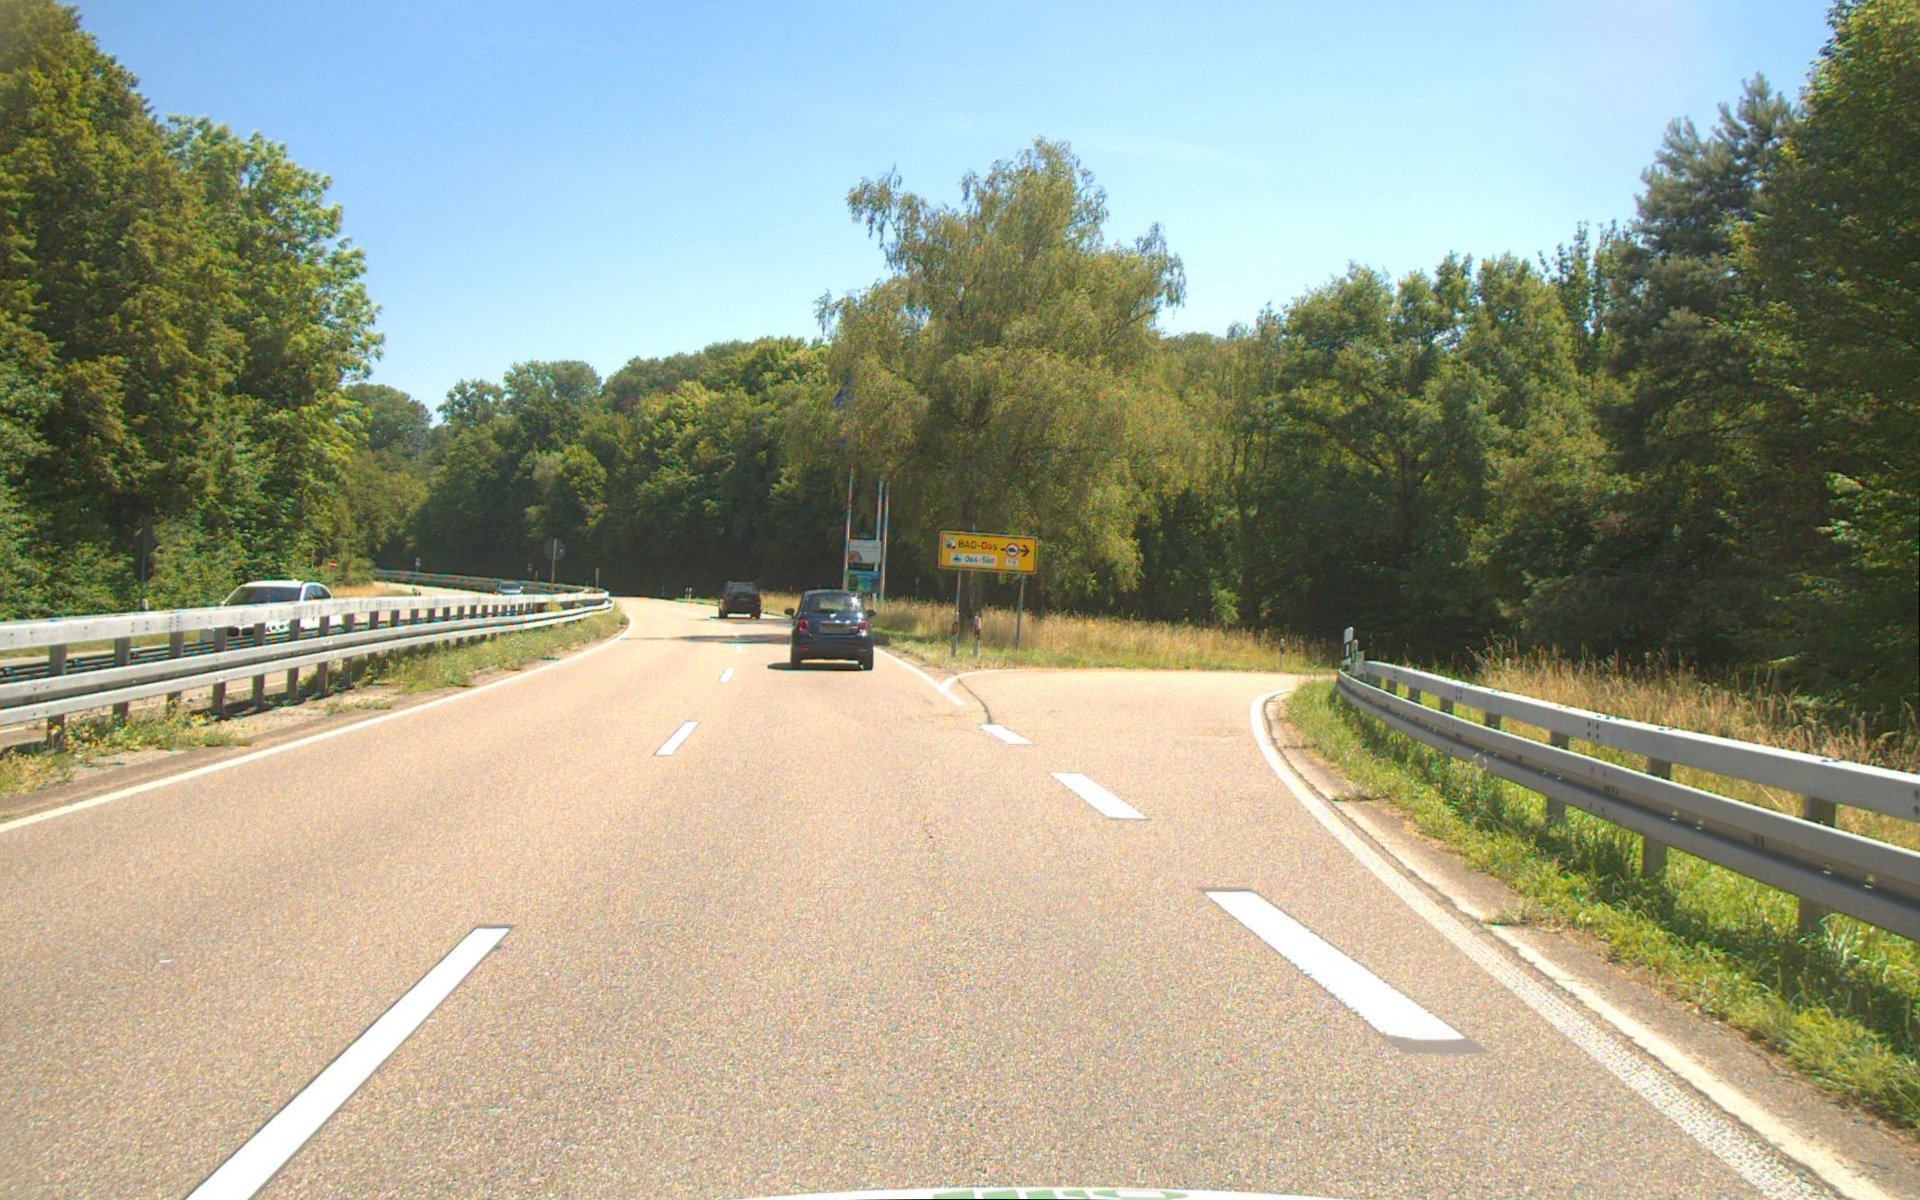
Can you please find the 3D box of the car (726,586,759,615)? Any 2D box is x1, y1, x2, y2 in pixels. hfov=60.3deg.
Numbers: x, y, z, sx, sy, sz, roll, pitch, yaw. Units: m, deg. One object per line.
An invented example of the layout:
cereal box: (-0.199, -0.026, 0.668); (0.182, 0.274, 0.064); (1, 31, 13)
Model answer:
car: (-10.291, 0.001, 78.202); (1.497, 1.336, 3.408); (1, 0, -8)

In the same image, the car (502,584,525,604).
car: (-32.200, -0.421, 119.282); (1.418, 1.405, 3.828); (1, 0, -18)

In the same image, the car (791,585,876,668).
car: (-2.459, 0.489, 32.698); (1.483, 1.527, 3.589); (1, 0, -2)

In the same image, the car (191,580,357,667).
car: (-13.537, 0.433, 32.930); (1.721, 1.600, 4.410); (1, 0, -4)
